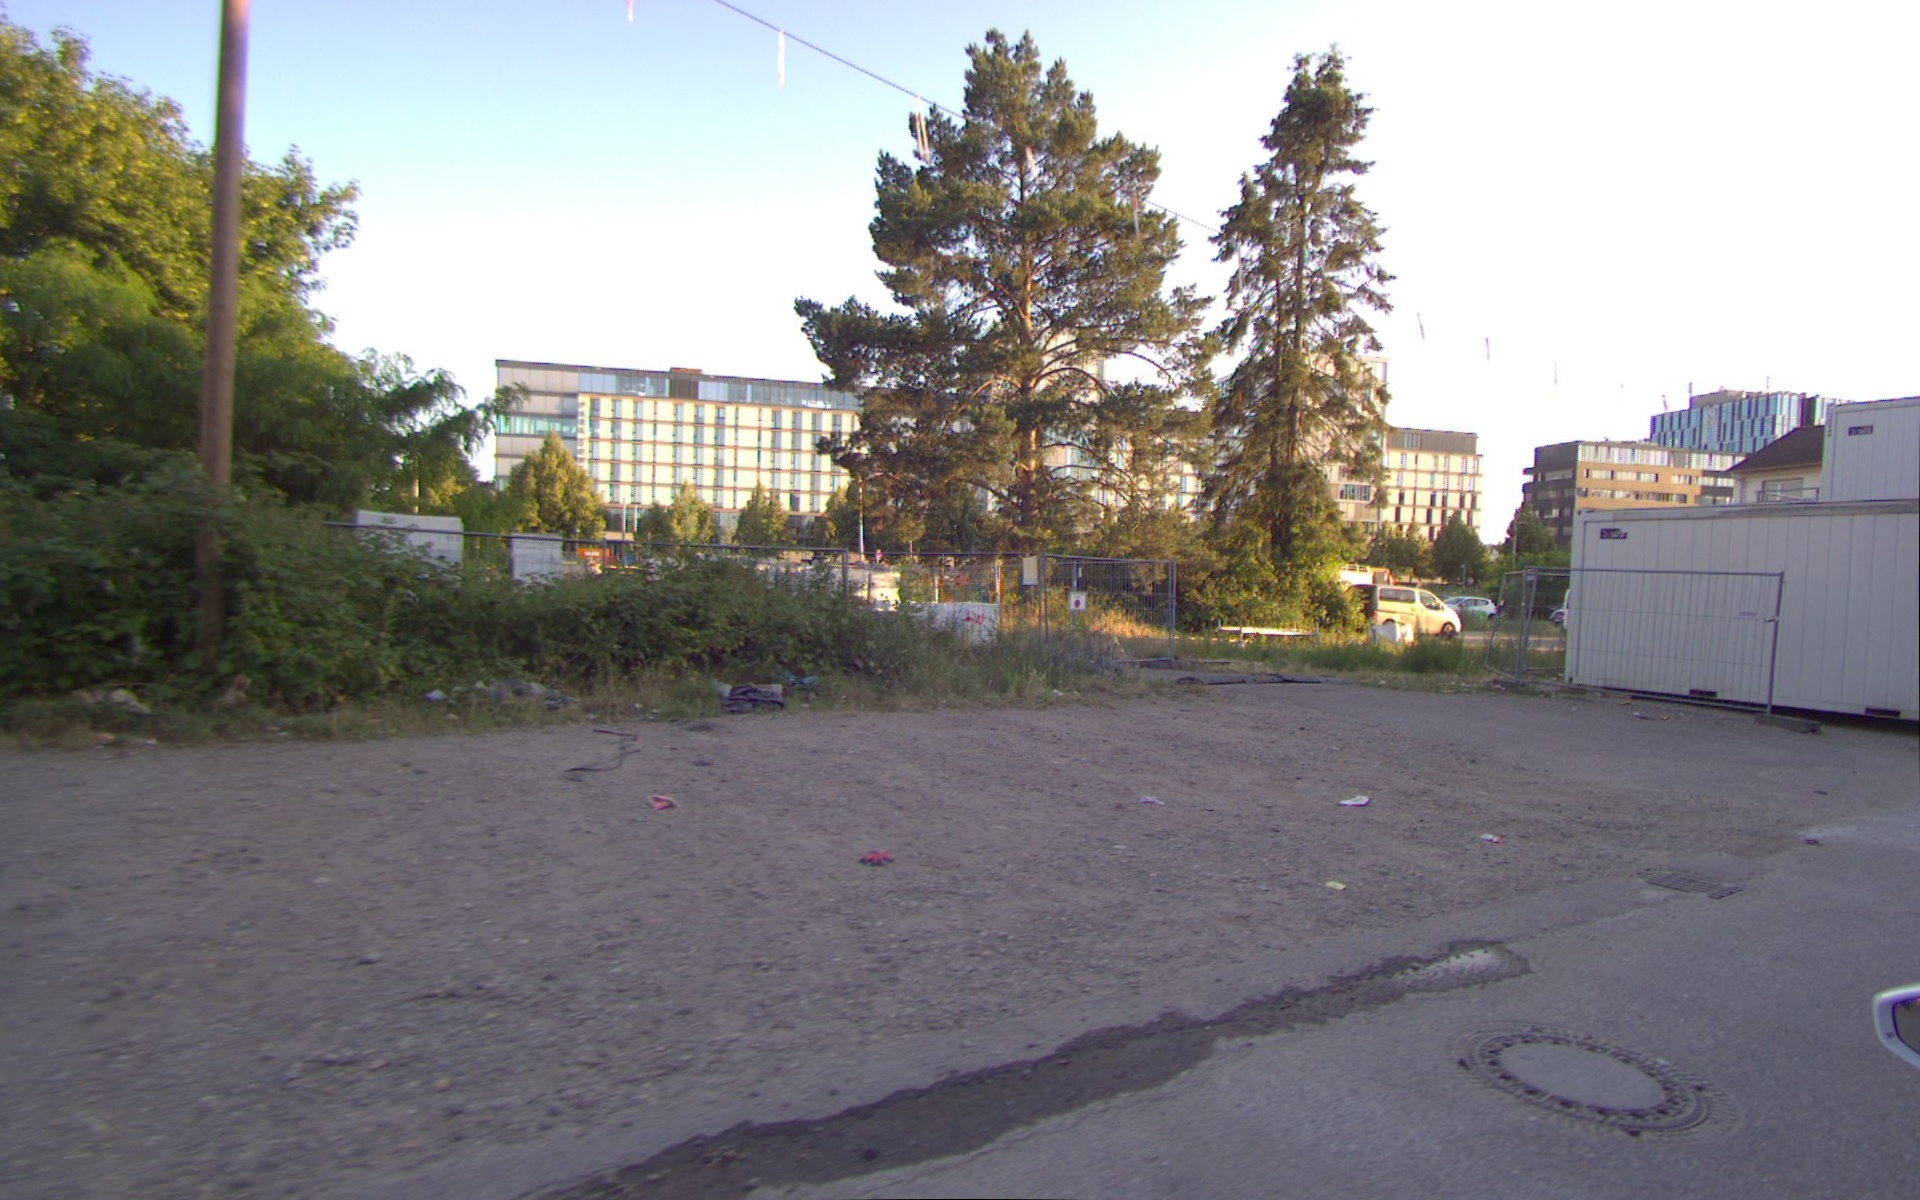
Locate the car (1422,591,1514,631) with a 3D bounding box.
[{"bbox_3d":[27.985,0.586,55.321,4.793,2.001,1.987,2,1,-26],"label":"car"}]

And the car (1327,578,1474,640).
[{"bbox_3d":[15.725,0.316,35.839,4.788,2.001,1.989,2,1,-22],"label":"car"}]

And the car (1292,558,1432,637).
[{"bbox_3d":[15.123,-0.092,37.787,4.788,2.728,1.989,2,1,-22],"label":"car"}]

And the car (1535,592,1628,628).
[{"bbox_3d":[38.634,0.631,62.443,4.982,2.041,2.304,2,1,-21],"label":"car"}]
